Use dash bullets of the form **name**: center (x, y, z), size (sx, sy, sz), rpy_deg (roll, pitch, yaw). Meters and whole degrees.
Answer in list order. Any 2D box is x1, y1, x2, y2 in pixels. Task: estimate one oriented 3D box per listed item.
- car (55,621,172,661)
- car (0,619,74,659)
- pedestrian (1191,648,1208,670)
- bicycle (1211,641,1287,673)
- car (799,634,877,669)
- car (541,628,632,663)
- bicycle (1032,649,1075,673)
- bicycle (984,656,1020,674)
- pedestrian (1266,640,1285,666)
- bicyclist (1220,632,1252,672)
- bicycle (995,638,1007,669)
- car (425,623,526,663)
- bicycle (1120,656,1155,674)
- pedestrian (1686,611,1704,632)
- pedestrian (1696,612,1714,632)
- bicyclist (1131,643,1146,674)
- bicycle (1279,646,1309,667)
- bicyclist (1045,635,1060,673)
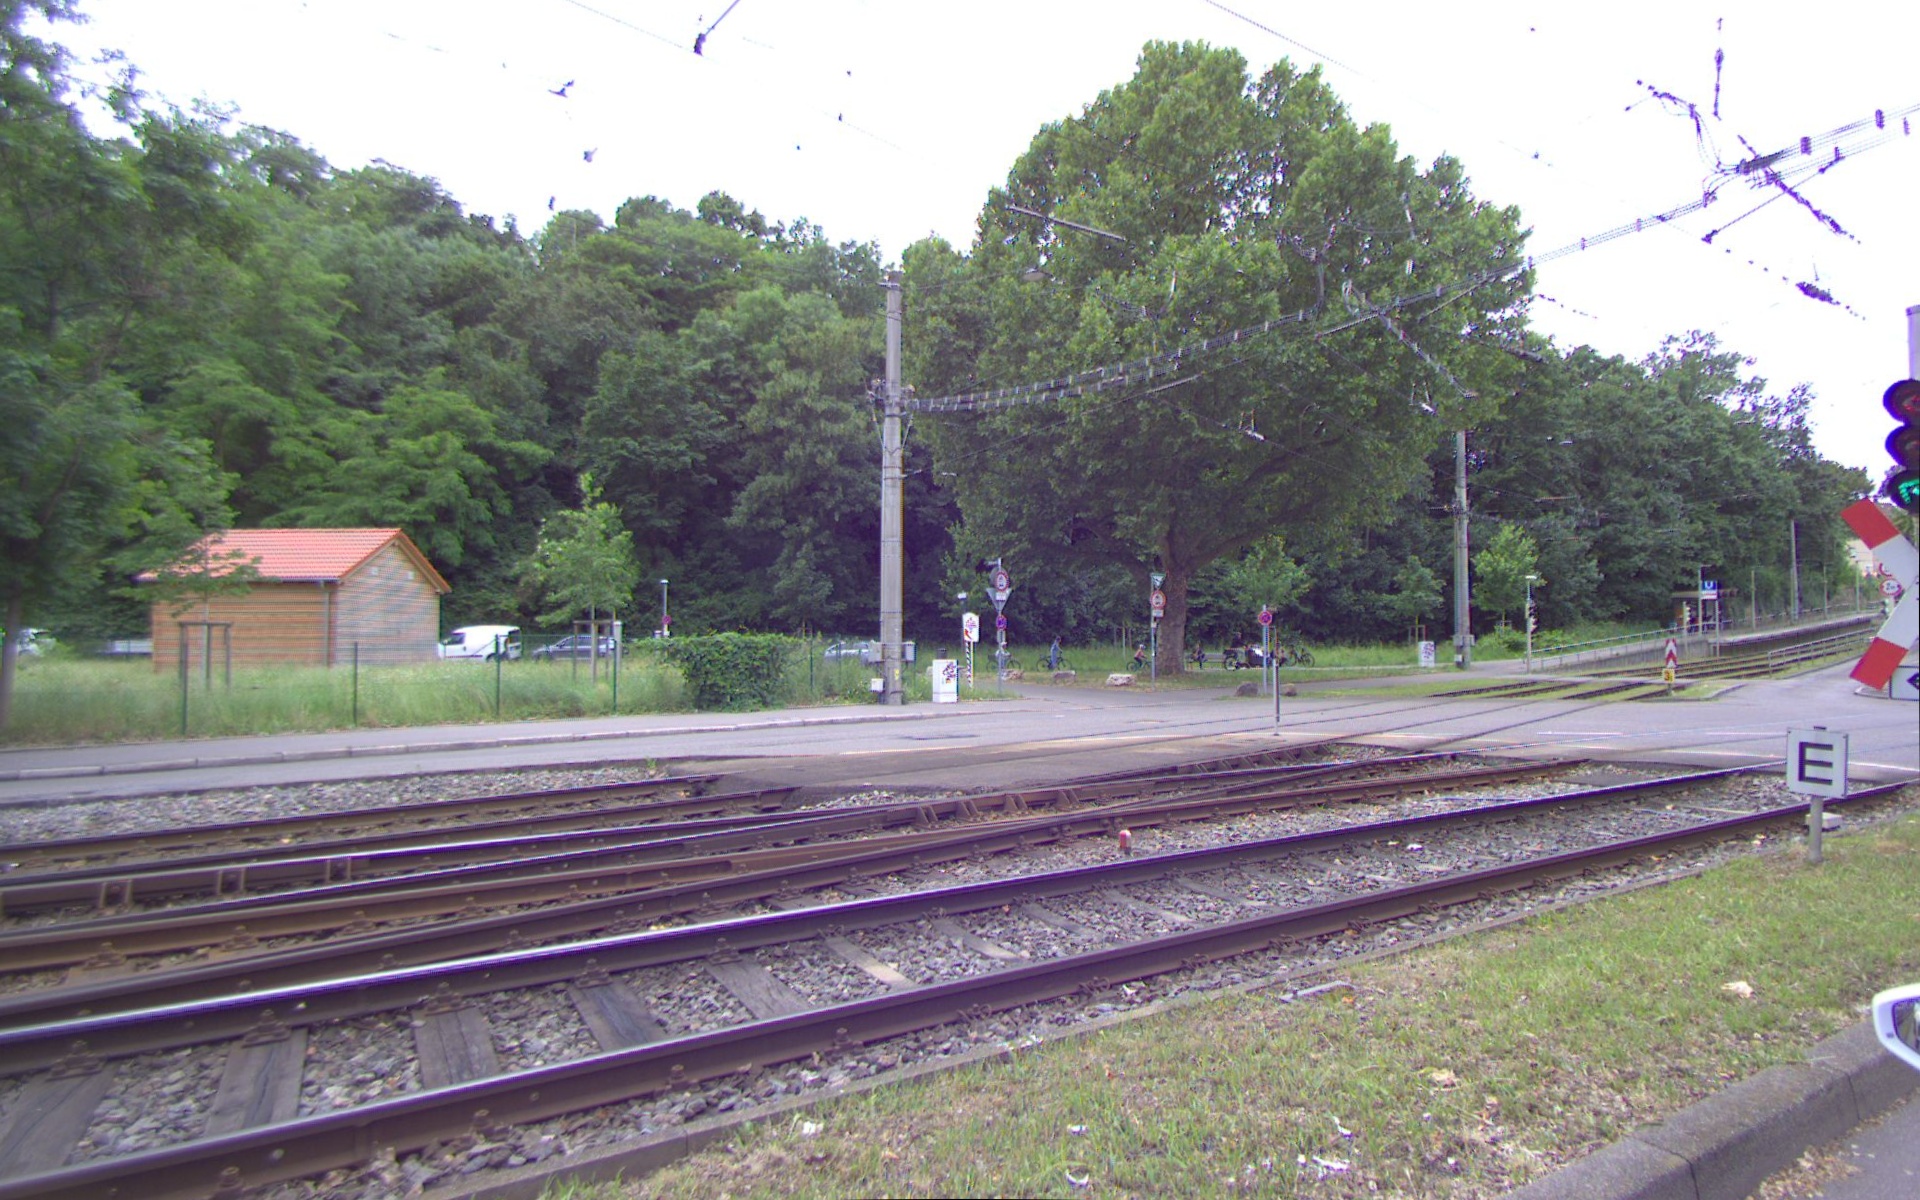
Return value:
- **car**: center (-37.592, 1.819, 44.674), size (3.610, 1.634, 1.757), rpy_deg (2, 0, -3)
- **car**: center (-41.784, 1.691, 44.352), size (3.612, 1.634, 1.756), rpy_deg (2, 0, -6)
- **pedestrian**: center (11.527, 2.822, 48.282), size (0.610, 1.003, 0.530), rpy_deg (2, 0, -15)
- **bicycle**: center (13.244, 2.593, 46.120), size (3.282, 1.307, 0.735), rpy_deg (-2, 2, -4)
- **car**: center (-5.652, 2.387, 46.845), size (3.436, 1.443, 1.700), rpy_deg (2, 0, -3)
- **car**: center (-16.858, 2.040, 45.462), size (3.436, 1.443, 1.700), rpy_deg (2, 0, -3)
- **bicycle**: center (4.262, 2.779, 45.848), size (1.908, 1.055, 0.475), rpy_deg (0, 1, -5)
- **bicycle**: center (1.886, 2.918, 45.213), size (1.620, 0.749, 0.455), rpy_deg (-1, 2, 0)
- **pedestrian**: center (15.351, 2.574, 48.851), size (0.662, 1.251, 0.578), rpy_deg (2, 0, -16)
- **bicyclist**: center (12.656, 2.362, 46.080), size (1.267, 1.734, 0.735), rpy_deg (-2, 2, -3)
- **bicycle**: center (1.833, 2.407, 45.198), size (0.506, 1.348, 0.455), rpy_deg (-1, 2, 0)
- **car**: center (-21.905, 1.939, 45.519), size (3.610, 1.634, 1.909), rpy_deg (2, 0, -3)
- **bicycle**: center (8.095, 2.966, 45.856), size (1.528, 0.749, 0.455), rpy_deg (-2, 2, 1)
- **pedestrian**: center (49.013, 1.446, 66.950), size (0.780, 1.344, 0.766), rpy_deg (-1, 2, -37)
- **pedestrian**: center (50.097, 1.482, 67.513), size (0.780, 1.344, 0.766), rpy_deg (2, 0, -38)
- **bicyclist**: center (8.149, 2.670, 45.846), size (0.569, 1.319, 0.455), rpy_deg (-2, 2, 1)
- **bicycle**: center (16.418, 2.762, 49.385), size (0.611, 0.897, 1.743), rpy_deg (2, 0, -10)
- **bicyclist**: center (4.227, 2.463, 45.837), size (0.612, 1.697, 0.475), rpy_deg (0, 2, -5)
